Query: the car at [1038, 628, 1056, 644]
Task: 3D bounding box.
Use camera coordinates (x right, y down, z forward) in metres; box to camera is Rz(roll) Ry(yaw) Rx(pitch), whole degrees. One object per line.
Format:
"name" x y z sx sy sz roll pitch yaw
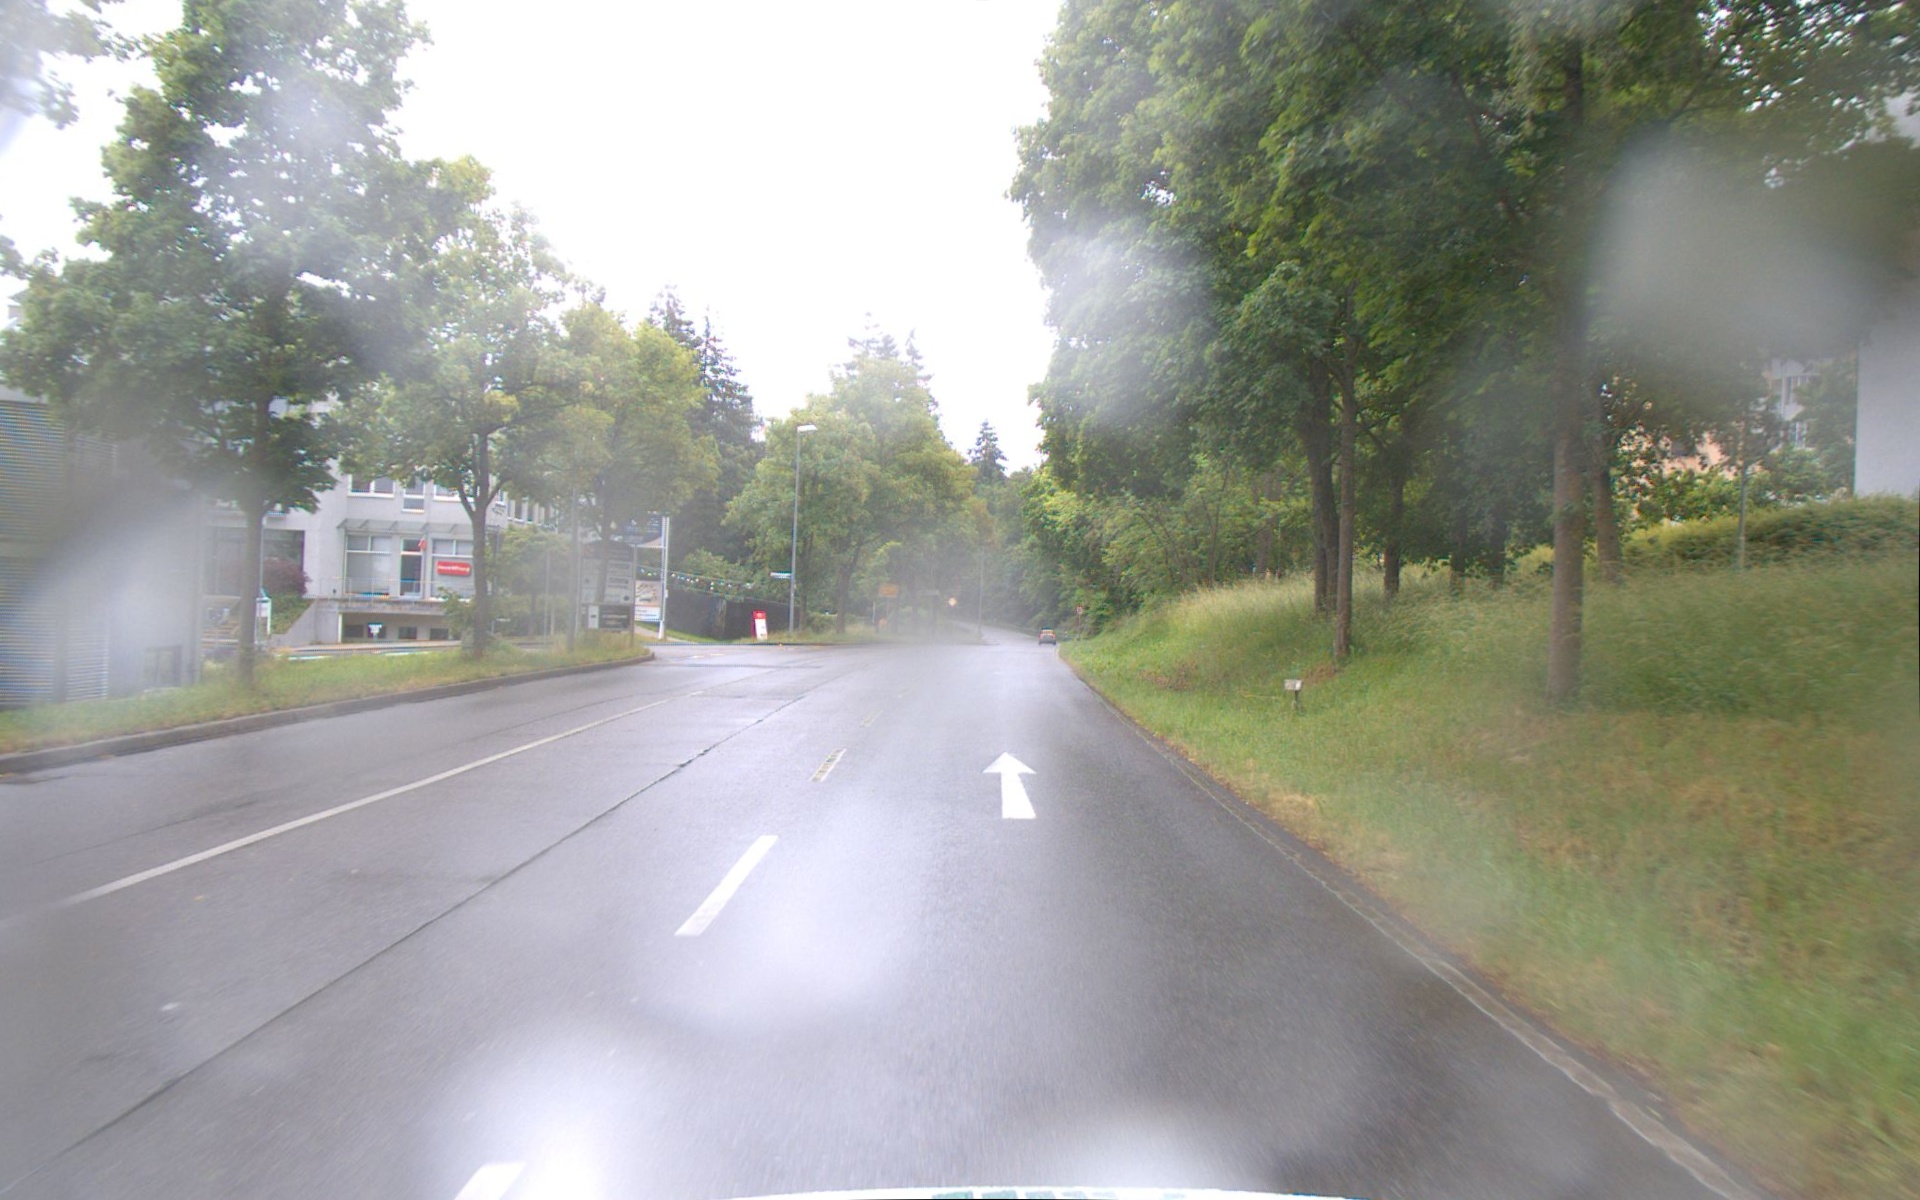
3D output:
"car" 8.745 3.611 165.671 1.700 1.537 4.001 0 -1 2
